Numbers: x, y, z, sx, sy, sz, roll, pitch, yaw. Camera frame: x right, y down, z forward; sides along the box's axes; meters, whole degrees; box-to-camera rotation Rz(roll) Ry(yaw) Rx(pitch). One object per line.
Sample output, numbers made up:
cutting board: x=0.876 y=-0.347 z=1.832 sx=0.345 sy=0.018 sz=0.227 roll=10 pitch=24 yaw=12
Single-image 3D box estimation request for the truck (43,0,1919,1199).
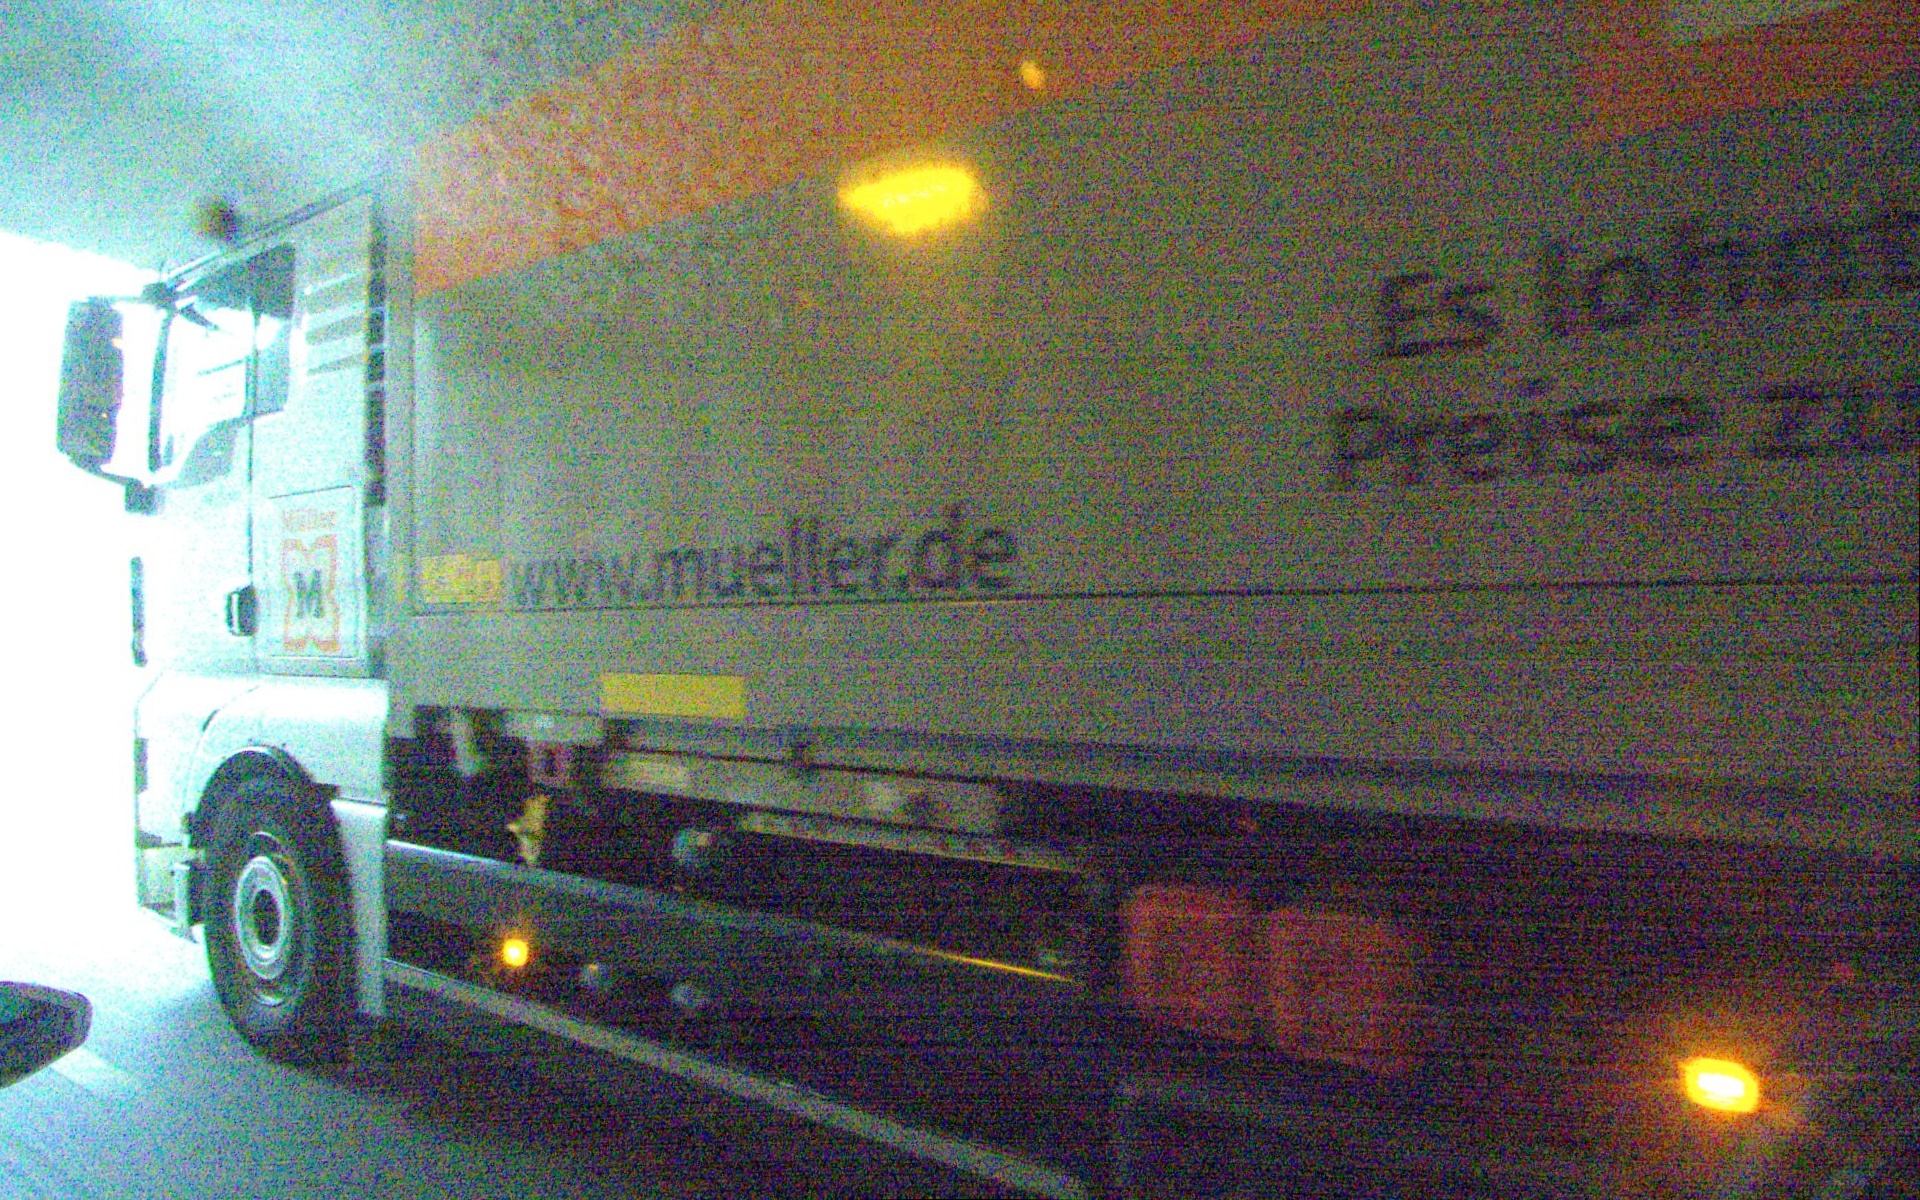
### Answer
truck: x=1.072 y=-0.489 z=2.759 sx=9.767 sy=3.964 sz=2.883 roll=-1 pitch=-1 yaw=33
